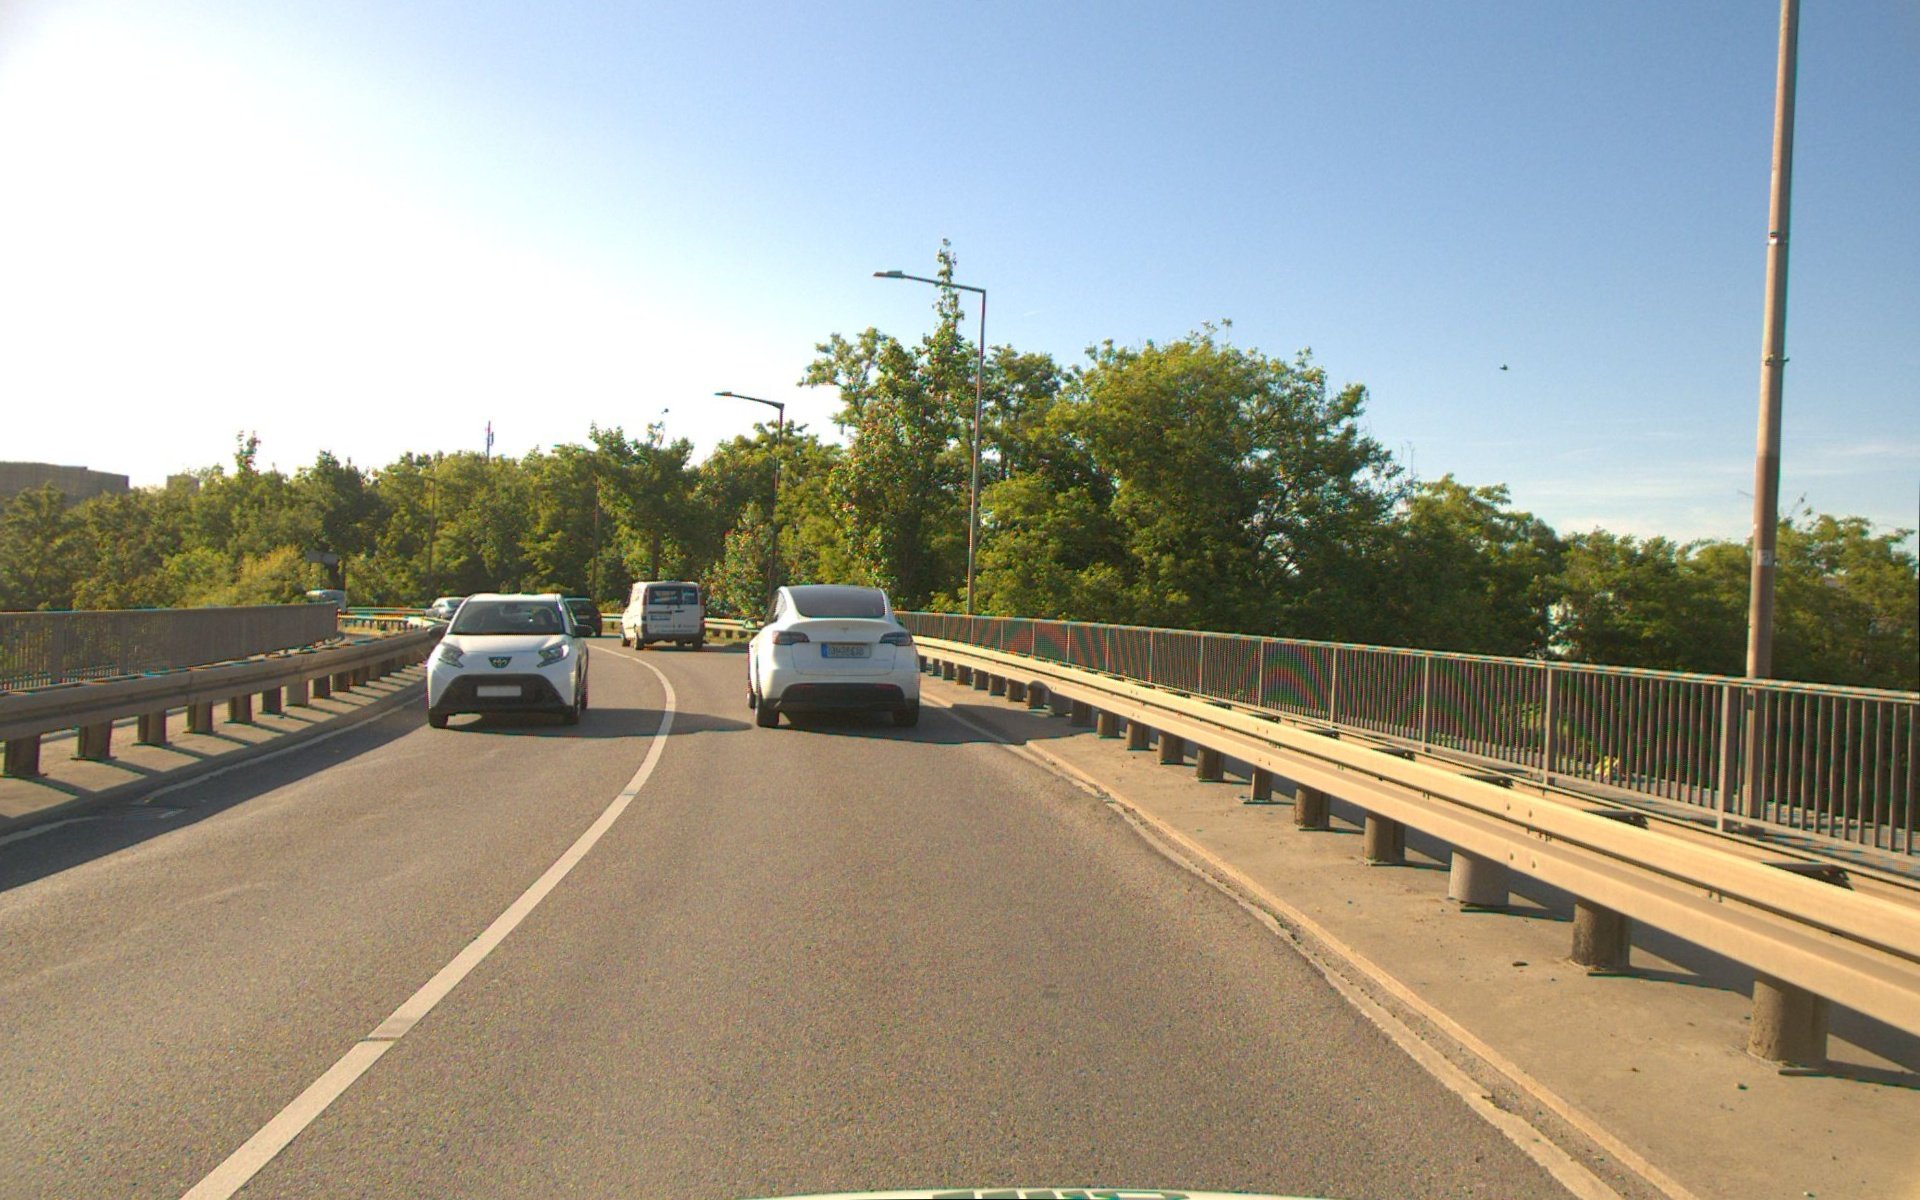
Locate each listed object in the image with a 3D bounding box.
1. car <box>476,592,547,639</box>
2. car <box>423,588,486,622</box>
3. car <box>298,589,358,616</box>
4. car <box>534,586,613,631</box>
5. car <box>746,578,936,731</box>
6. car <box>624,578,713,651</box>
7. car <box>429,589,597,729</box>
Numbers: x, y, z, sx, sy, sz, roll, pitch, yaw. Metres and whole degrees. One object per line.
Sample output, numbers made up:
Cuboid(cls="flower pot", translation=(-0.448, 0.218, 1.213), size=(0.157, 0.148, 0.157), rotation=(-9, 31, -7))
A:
Cuboid(cls="car", translation=(-15.682, 0.520, 57.721), size=(1.800, 1.579, 4.153), rotation=(0, 0, -24))
Cuboid(cls="car", translation=(-25.033, 0.230, 81.836), size=(1.844, 1.612, 3.866), rotation=(0, 0, -35))
Cuboid(cls="car", translation=(-37.868, 0.117, 99.125), size=(3.824, 1.583, 1.830), rotation=(0, 0, 42))
Cuboid(cls="car", translation=(-14.704, 0.335, 62.777), size=(1.946, 1.666, 3.963), rotation=(-1, 0, -28))
Cuboid(cls="car", translation=(-1.558, 0.598, 20.228), size=(1.949, 1.666, 4.053), rotation=(0, 0, -9))
Cuboid(cls="car", translation=(-8.385, 0.376, 47.328), size=(1.973, 1.974, 4.446), rotation=(0, 0, -17))
Cuboid(cls="car", translation=(-5.452, 0.640, 20.287), size=(1.806, 1.545, 3.755), rotation=(0, 0, -15))
